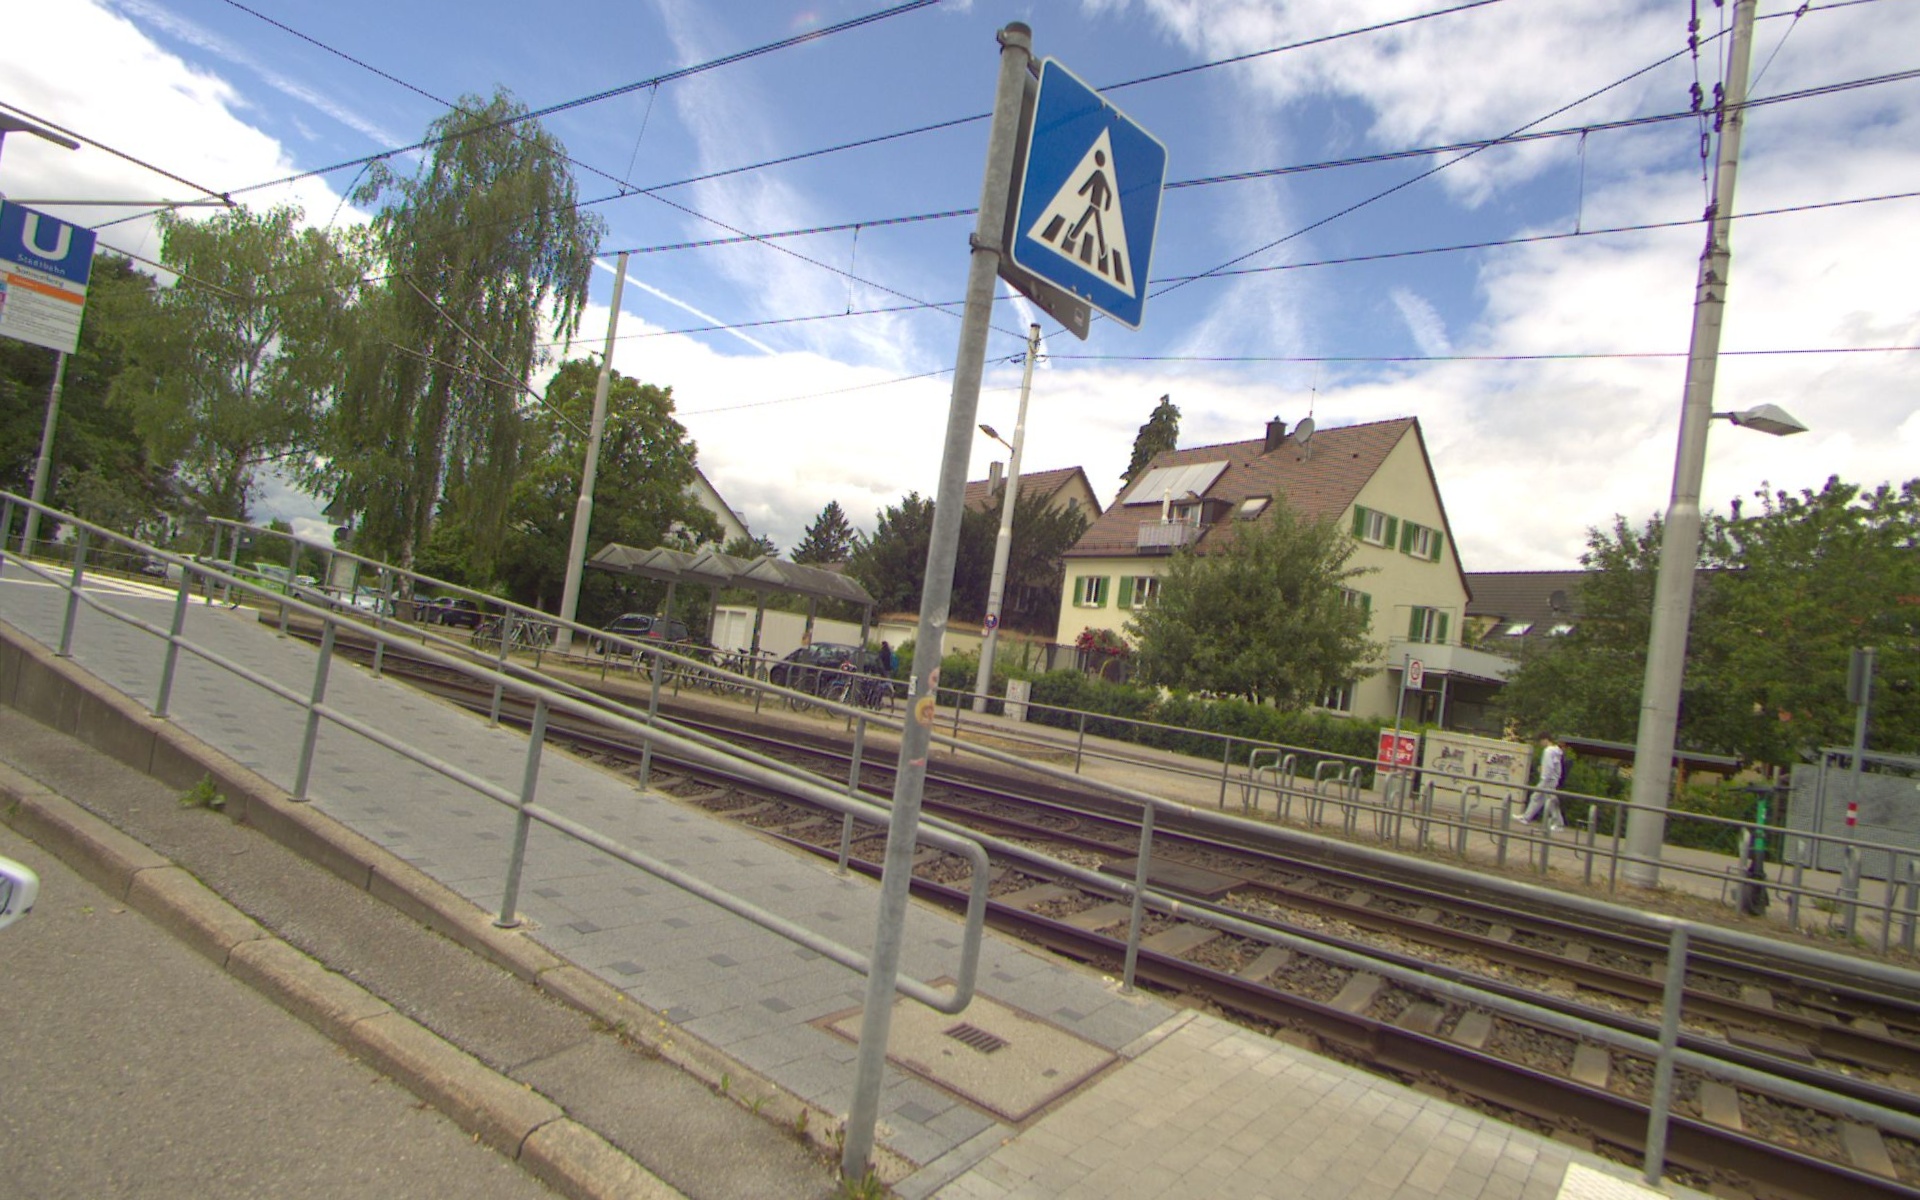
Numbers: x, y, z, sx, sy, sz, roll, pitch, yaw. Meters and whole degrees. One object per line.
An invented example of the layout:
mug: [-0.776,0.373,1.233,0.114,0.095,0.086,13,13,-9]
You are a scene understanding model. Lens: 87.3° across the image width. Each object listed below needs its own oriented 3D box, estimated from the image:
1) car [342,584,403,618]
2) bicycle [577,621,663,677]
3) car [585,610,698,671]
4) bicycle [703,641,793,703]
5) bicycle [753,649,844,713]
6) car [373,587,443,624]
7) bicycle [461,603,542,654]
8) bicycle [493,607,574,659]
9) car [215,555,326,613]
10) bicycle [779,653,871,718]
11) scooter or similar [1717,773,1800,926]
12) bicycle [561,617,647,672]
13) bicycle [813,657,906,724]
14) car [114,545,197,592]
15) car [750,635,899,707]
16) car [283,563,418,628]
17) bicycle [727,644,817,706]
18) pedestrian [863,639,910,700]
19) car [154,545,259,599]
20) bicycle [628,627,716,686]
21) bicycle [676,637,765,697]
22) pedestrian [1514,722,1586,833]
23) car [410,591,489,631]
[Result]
car: [-33.409,0.043,57.203,3.847,1.504,1.756,4,-4,41]
bicycle: [-7.744,1.137,22.989,0.548,1.053,1.768,6,-4,36]
car: [-11.708,1.439,36.791,1.812,1.653,4.780,11,-4,-44]
bicycle: [-4.300,1.484,20.518,0.548,1.053,1.768,6,-4,36]
bicycle: [-3.109,1.593,19.534,0.548,1.053,1.768,6,-4,36]
car: [-29.344,0.278,53.412,4.636,1.504,1.755,4,-4,43]
bicycle: [-11.246,0.717,24.738,0.547,1.053,1.772,6,-4,26]
bicycle: [-10.430,0.837,24.677,0.547,1.053,1.772,6,-4,27]
car: [-25.559,-0.603,37.271,3.933,1.591,1.735,6,-3,30]
bicycle: [-2.544,1.640,19.109,0.548,1.053,1.768,6,-4,36]
scooter or similar: [7.870,2.418,9.941,0.482,1.331,1.048,7,-2,38]
bicycle: [-8.256,1.047,23.400,0.548,1.053,1.768,6,-4,36]
bicycle: [-1.832,1.682,18.577,0.548,1.053,1.768,6,-4,36]
car: [-33.973,-1.349,42.443,4.439,1.504,1.840,5,-4,42]
car: [-4.046,2.064,29.587,4.363,1.502,1.815,5,-4,43]
car: [-20.934,-0.158,34.553,4.189,1.591,2.069,6,-4,30]
bicycle: [-3.736,1.512,20.100,0.548,1.053,1.768,6,-4,36]
pedestrian: [-2.267,2.145,31.021,0.933,1.704,0.810,6,-3,30]
car: [-29.800,-1.118,39.759,4.031,1.591,1.762,6,-3,30]
bicycle: [-6.258,1.249,21.966,0.548,1.053,1.768,6,-4,36]
bicycle: [-4.984,1.418,21.080,0.548,1.053,1.768,6,-4,36]
pedestrian: [11.223,3.357,19.153,0.815,1.936,0.627,8,-1,13]
car: [-25.124,0.514,49.451,4.865,1.504,1.755,4,-4,43]
